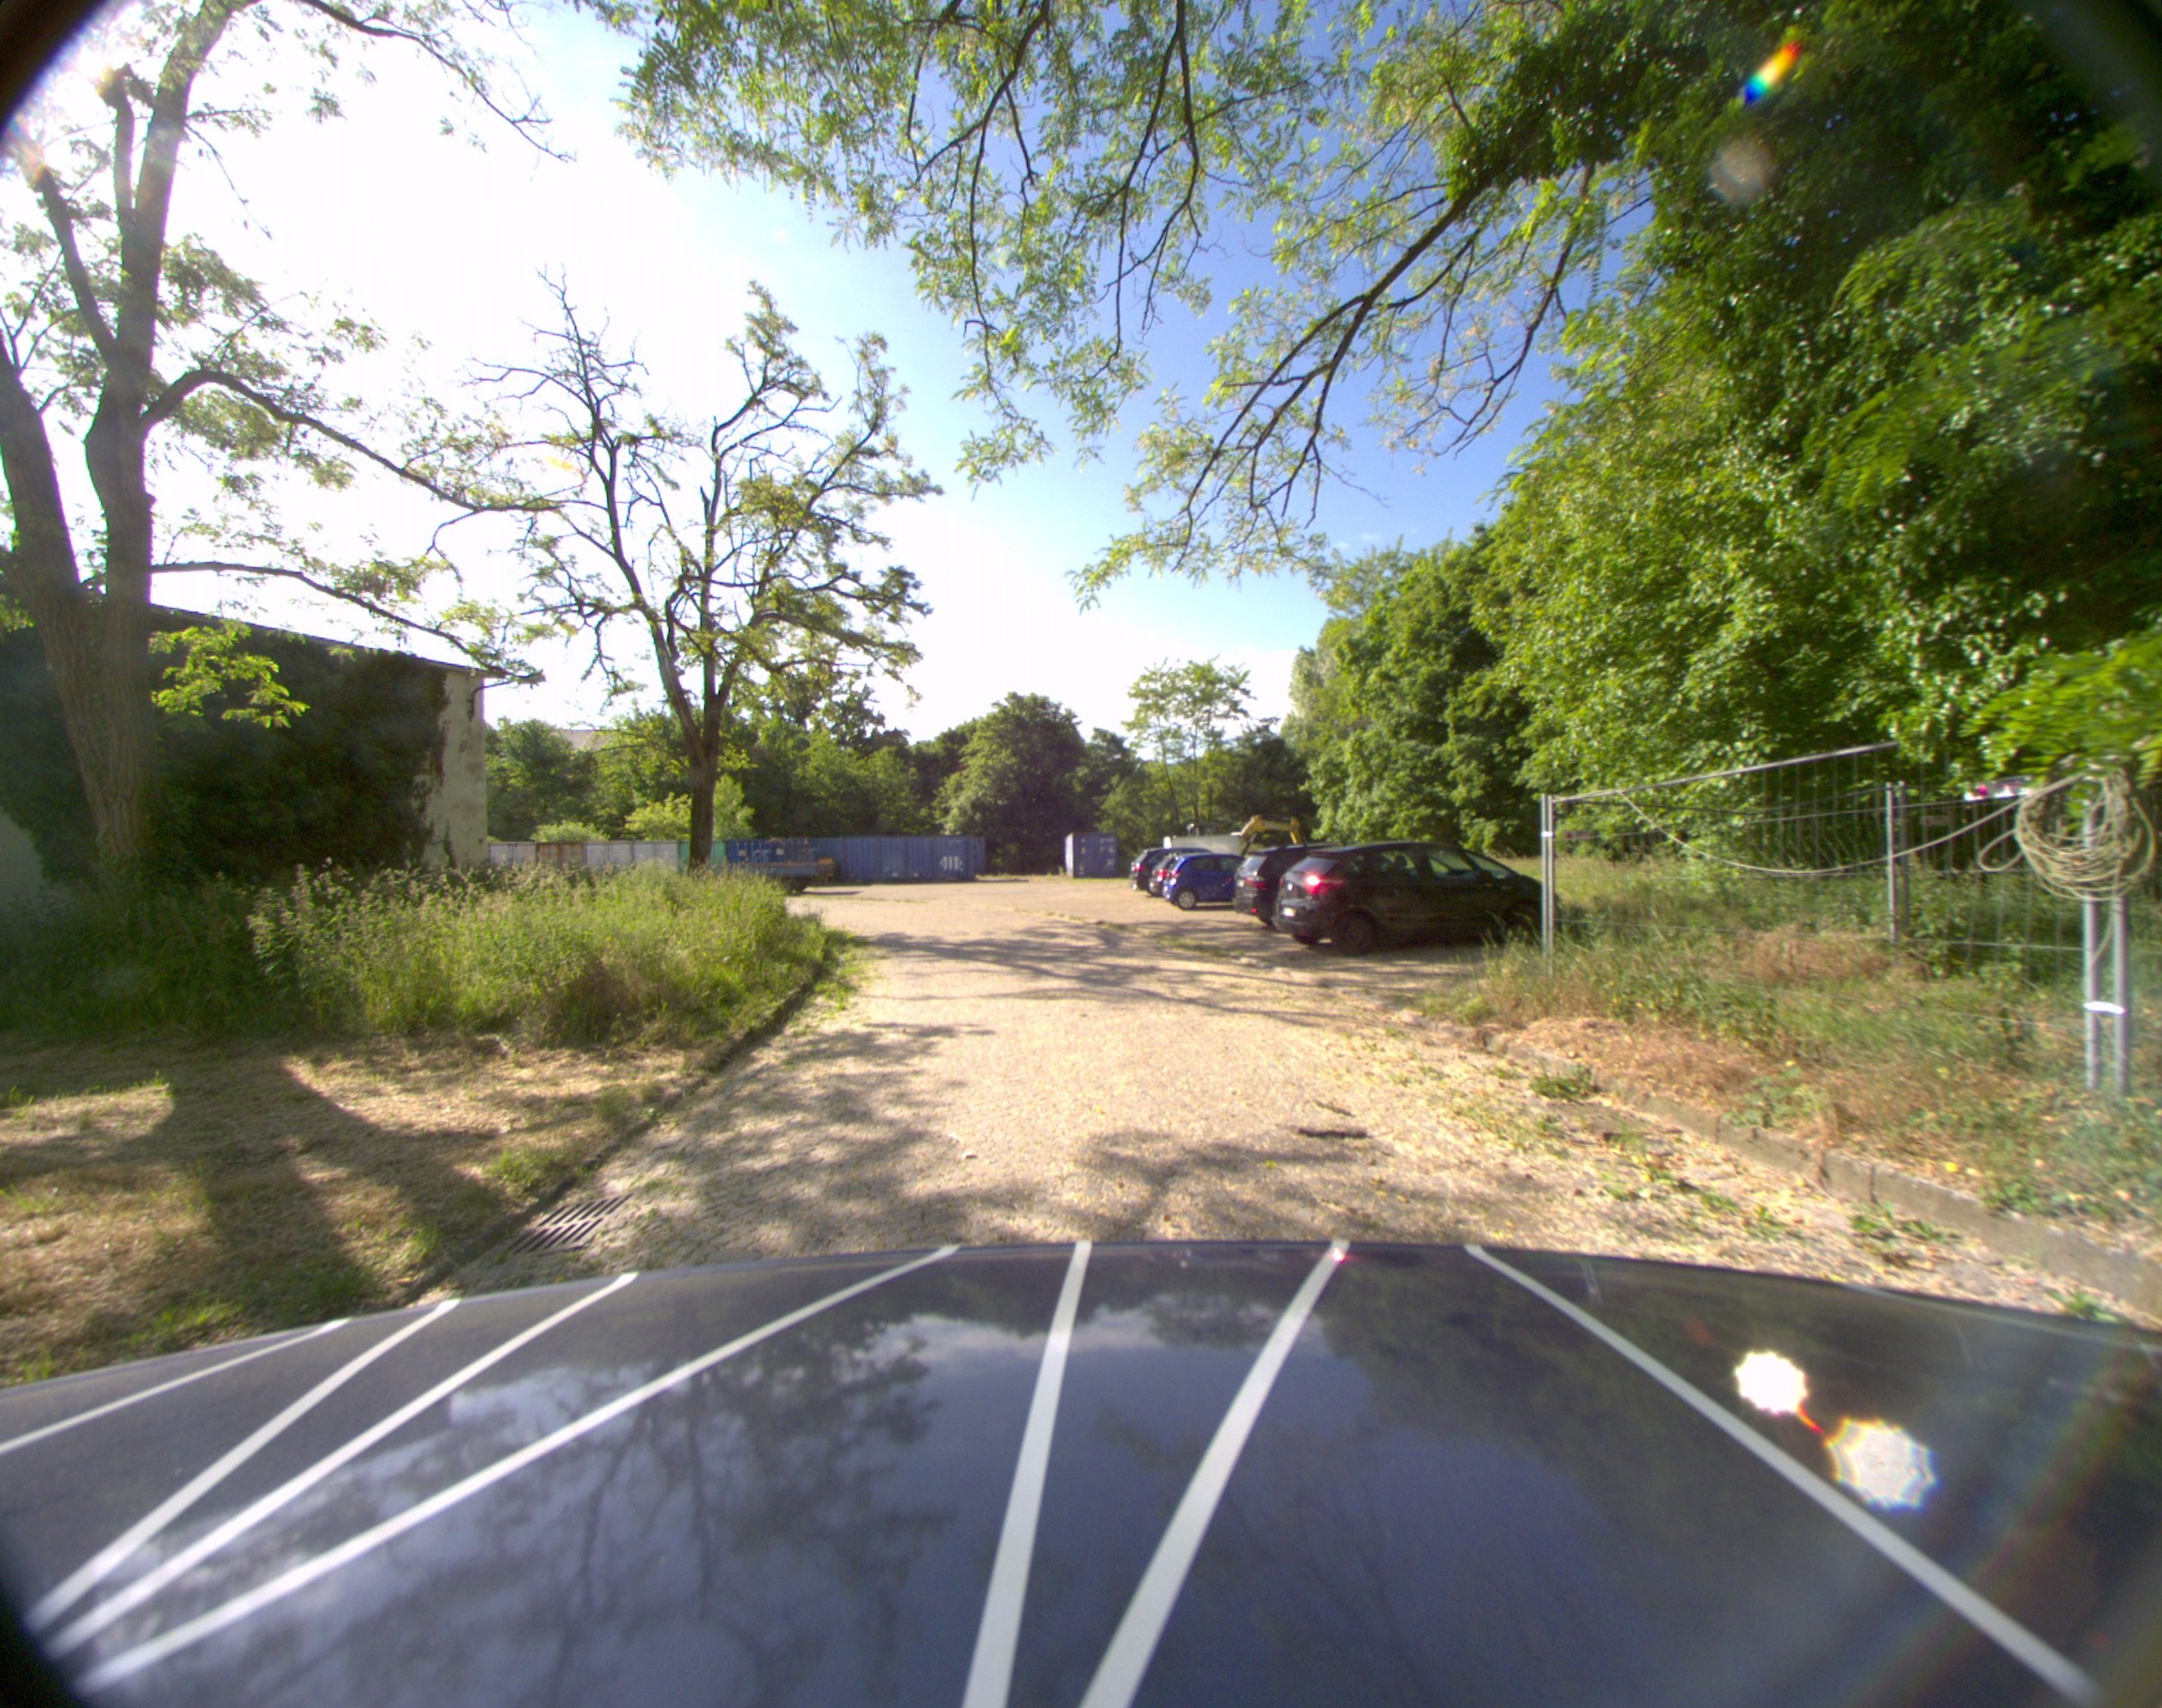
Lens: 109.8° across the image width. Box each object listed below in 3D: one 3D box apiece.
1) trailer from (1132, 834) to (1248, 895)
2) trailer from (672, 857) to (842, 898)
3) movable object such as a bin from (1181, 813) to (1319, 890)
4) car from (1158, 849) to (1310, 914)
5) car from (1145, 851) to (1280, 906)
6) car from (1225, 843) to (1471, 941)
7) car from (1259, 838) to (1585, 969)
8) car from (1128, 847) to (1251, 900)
[{"bbox_3d":[4.012,0.377,28.393,3.970,2.081,1.639,-2,0,-2],"label":"trailer"},{"bbox_3d":[-14.577,1.032,34.647,6.489,1.509,2.854,-1,2,-3],"label":"trailer"},{"bbox_3d":[6.767,-0.095,30.795,5.160,2.948,2.000,-1,0,2],"label":"movable object such as a bin"},{"bbox_3d":[4.038,0.716,20.427,3.661,1.484,1.714,-3,0,0],"label":"car"},{"bbox_3d":[3.909,0.700,23.034,3.661,1.443,1.833,-2,1,-3],"label":"car"},{"bbox_3d":[5.168,0.695,15.055,4.188,1.646,1.817,-2,0,-4],"label":"car"},{"bbox_3d":[5.213,0.691,11.883,4.299,1.642,1.792,-3,1,-7],"label":"car"},{"bbox_3d":[3.553,0.632,25.457,3.818,1.631,1.868,-1,0,-1],"label":"car"}]
